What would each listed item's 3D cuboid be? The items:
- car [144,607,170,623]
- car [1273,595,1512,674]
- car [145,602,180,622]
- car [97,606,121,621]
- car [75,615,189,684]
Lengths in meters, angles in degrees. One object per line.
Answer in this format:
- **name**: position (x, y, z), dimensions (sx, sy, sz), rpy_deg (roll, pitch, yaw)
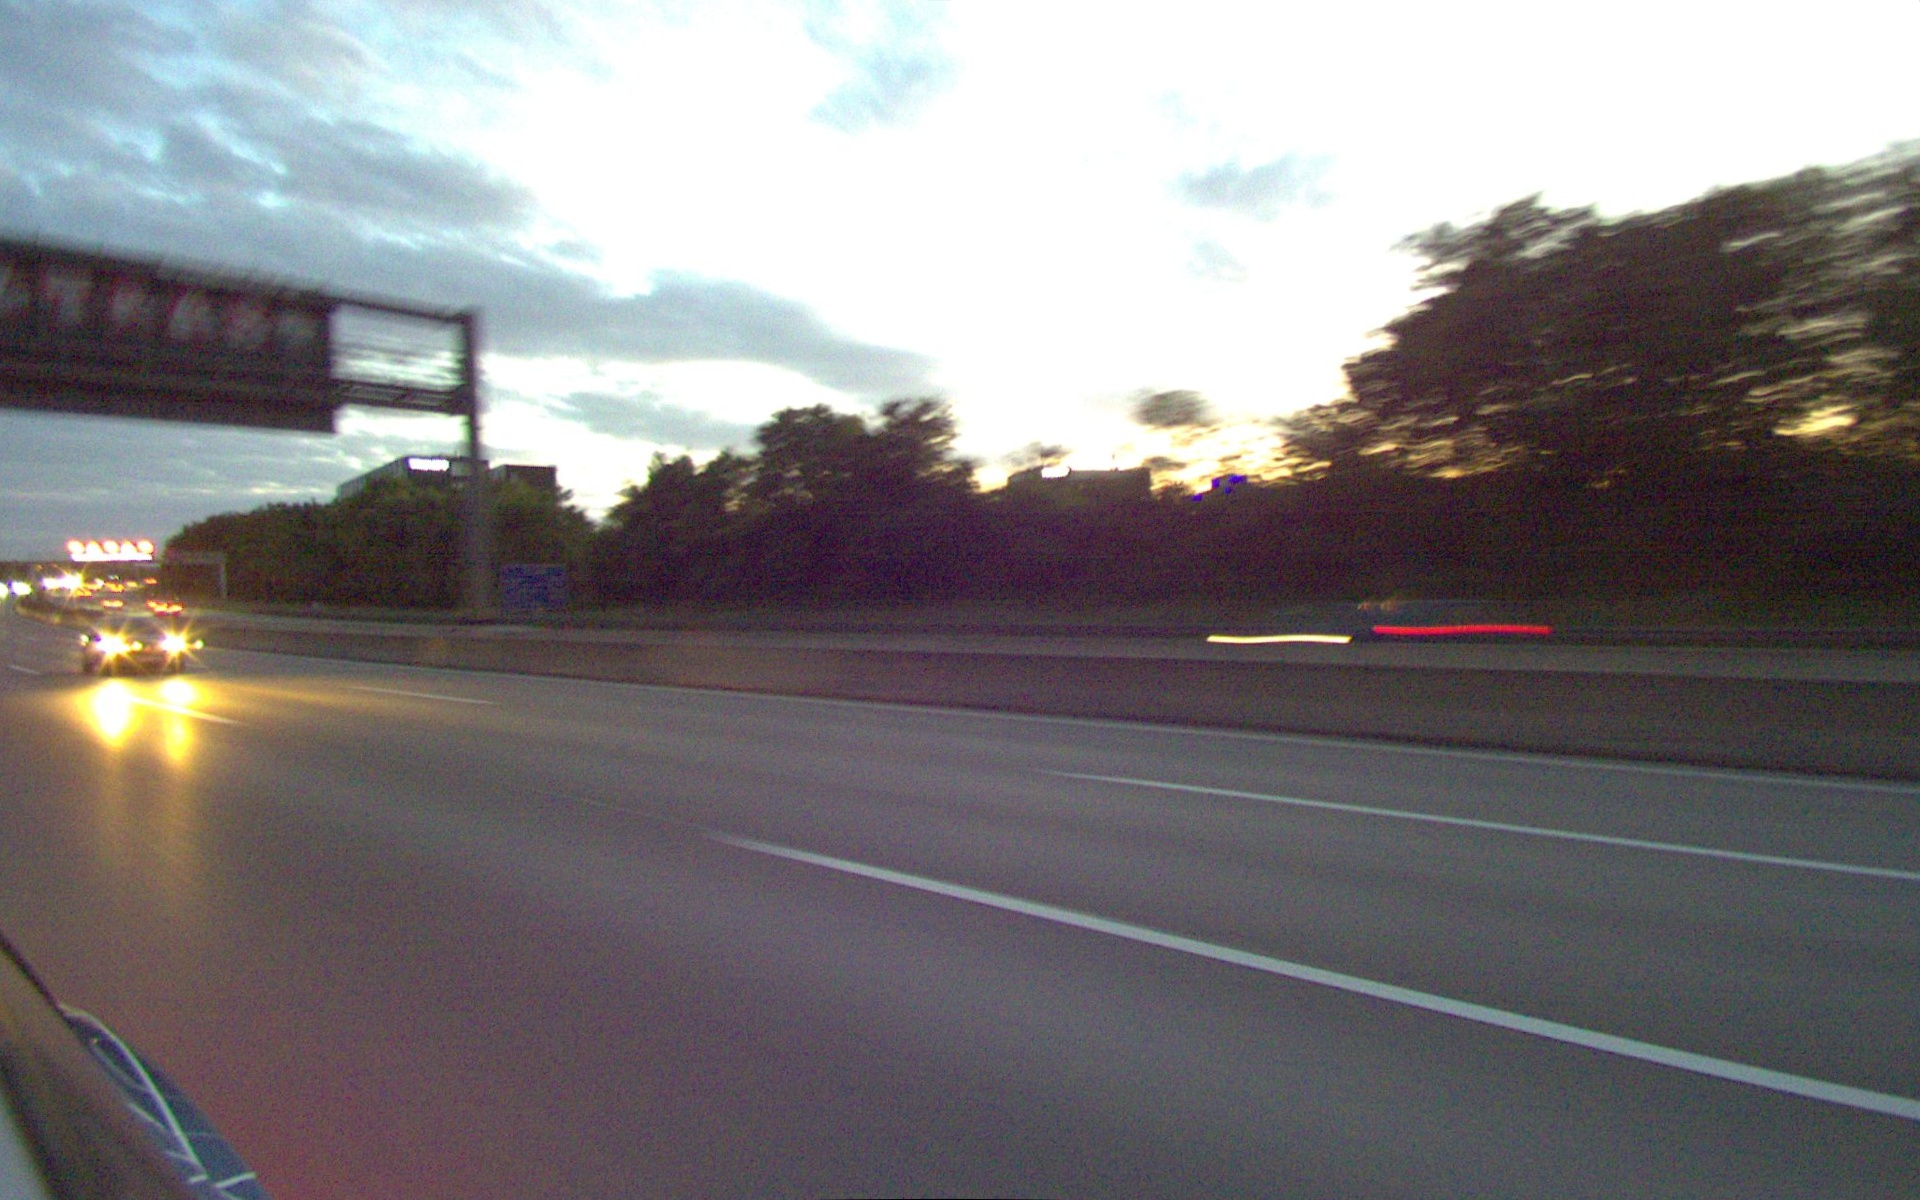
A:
- **car**: position (-107.161, 2.002, 135.010), dimensions (5.058, 1.907, 1.972), rpy_deg (1, 2, 43)
- **car**: position (8.852, 0.655, 20.893), dimensions (4.150, 1.430, 1.973), rpy_deg (-1, 1, 41)
- **car**: position (-82.998, 1.191, 105.297), dimensions (4.677, 1.907, 1.973), rpy_deg (1, 2, 41)
- **car**: position (-115.246, 1.829, 136.995), dimensions (5.058, 1.907, 1.855), rpy_deg (1, 2, 43)
- **car**: position (-21.412, 1.205, 26.120), dimensions (3.999, 1.491, 1.695), rpy_deg (1, 2, 42)
